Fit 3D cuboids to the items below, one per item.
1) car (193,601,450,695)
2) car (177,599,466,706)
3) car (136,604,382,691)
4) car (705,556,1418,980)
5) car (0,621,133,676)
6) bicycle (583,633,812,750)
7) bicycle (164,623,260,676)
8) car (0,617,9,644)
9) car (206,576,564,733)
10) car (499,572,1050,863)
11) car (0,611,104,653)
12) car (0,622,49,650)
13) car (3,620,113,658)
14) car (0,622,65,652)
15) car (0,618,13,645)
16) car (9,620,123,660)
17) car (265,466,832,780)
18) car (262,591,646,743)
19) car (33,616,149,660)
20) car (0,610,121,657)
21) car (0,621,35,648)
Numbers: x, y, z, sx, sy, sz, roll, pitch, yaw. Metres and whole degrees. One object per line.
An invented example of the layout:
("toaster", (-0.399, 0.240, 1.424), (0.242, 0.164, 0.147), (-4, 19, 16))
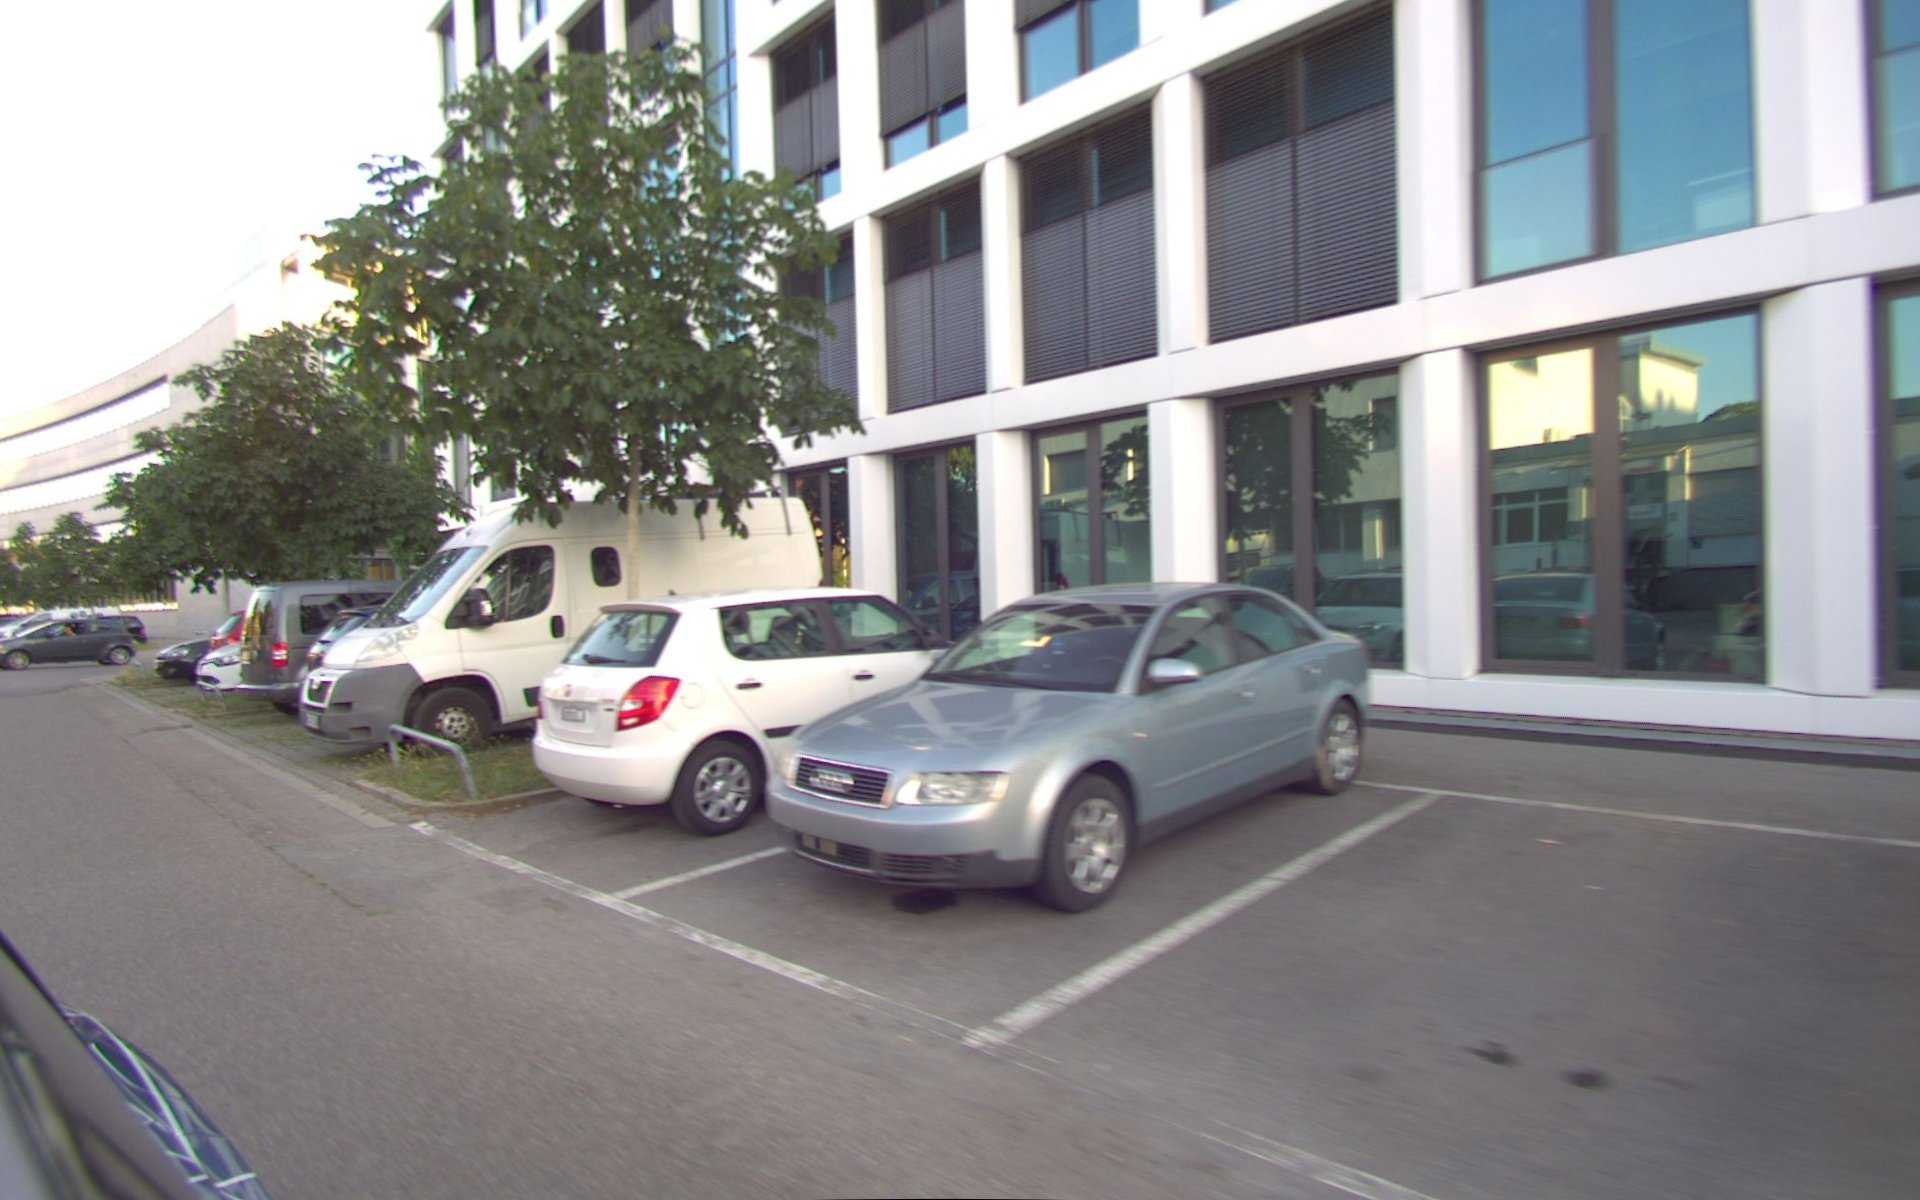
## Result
("car", (-12.942, 0.902, 20.671), (1.845, 1.530, 4.064), (-2, 1, 43))
("car", (-11.418, 0.859, 18.290), (1.781, 1.530, 4.064), (-2, 1, 43))
("car", (-15.182, 0.968, 22.076), (1.844, 1.530, 4.065), (-2, 1, 42))
("car", (0.898, 0.575, 5.888), (1.796, 1.506, 4.259), (-2, 1, 45))
("car", (-28.335, 1.487, 31.547), (1.648, 1.506, 3.688), (-2, 0, 39))
("bicycle", (-2.389, 0.831, 9.329), (1.888, 0.922, 0.673), (-3, 0, 5))
("bicycle", (-17.123, 1.117, 23.193), (0.567, 1.073, 1.677), (-2, 1, 44))
("car", (-60.557, 1.981, 61.279), (1.793, 1.595, 3.986), (-2, 2, 32))
("car", (-8.130, 0.661, 14.621), (1.814, 1.830, 4.068), (-2, 1, 39))
("car", (-1.171, 0.631, 7.490), (1.708, 1.506, 3.667), (-2, 1, 43))
("car", (-47.595, 1.662, 52.132), (1.886, 1.840, 5.023), (-2, 2, 37))
("car", (-51.894, 2.003, 54.581), (1.797, 1.370, 3.767), (-2, 2, 37))
("car", (-41.885, 1.762, 47.040), (1.725, 1.435, 3.608), (-1, 2, 42))
("car", (-49.583, 1.955, 52.993), (1.797, 1.370, 3.767), (-2, 2, 37))
("car", (-58.481, 1.987, 59.330), (1.793, 1.595, 3.986), (-2, 2, 32))
("car", (-40.063, 1.757, 45.401), (1.725, 1.435, 3.607), (-1, 2, 43))
("car", (-4.222, 0.097, 11.182), (2.079, 2.652, 5.320), (-2, 1, 45))
("car", (-6.395, 0.736, 13.168), (1.773, 1.510, 4.068), (-2, 1, 39))
("car", (-37.670, 1.620, 43.911), (1.725, 1.559, 3.607), (-1, 2, 43))
("car", (-43.929, 1.614, 48.778), (1.886, 1.895, 5.023), (-2, 2, 37))
("car", (-53.918, 1.983, 55.990), (1.797, 1.370, 3.767), (-2, 2, 37))
